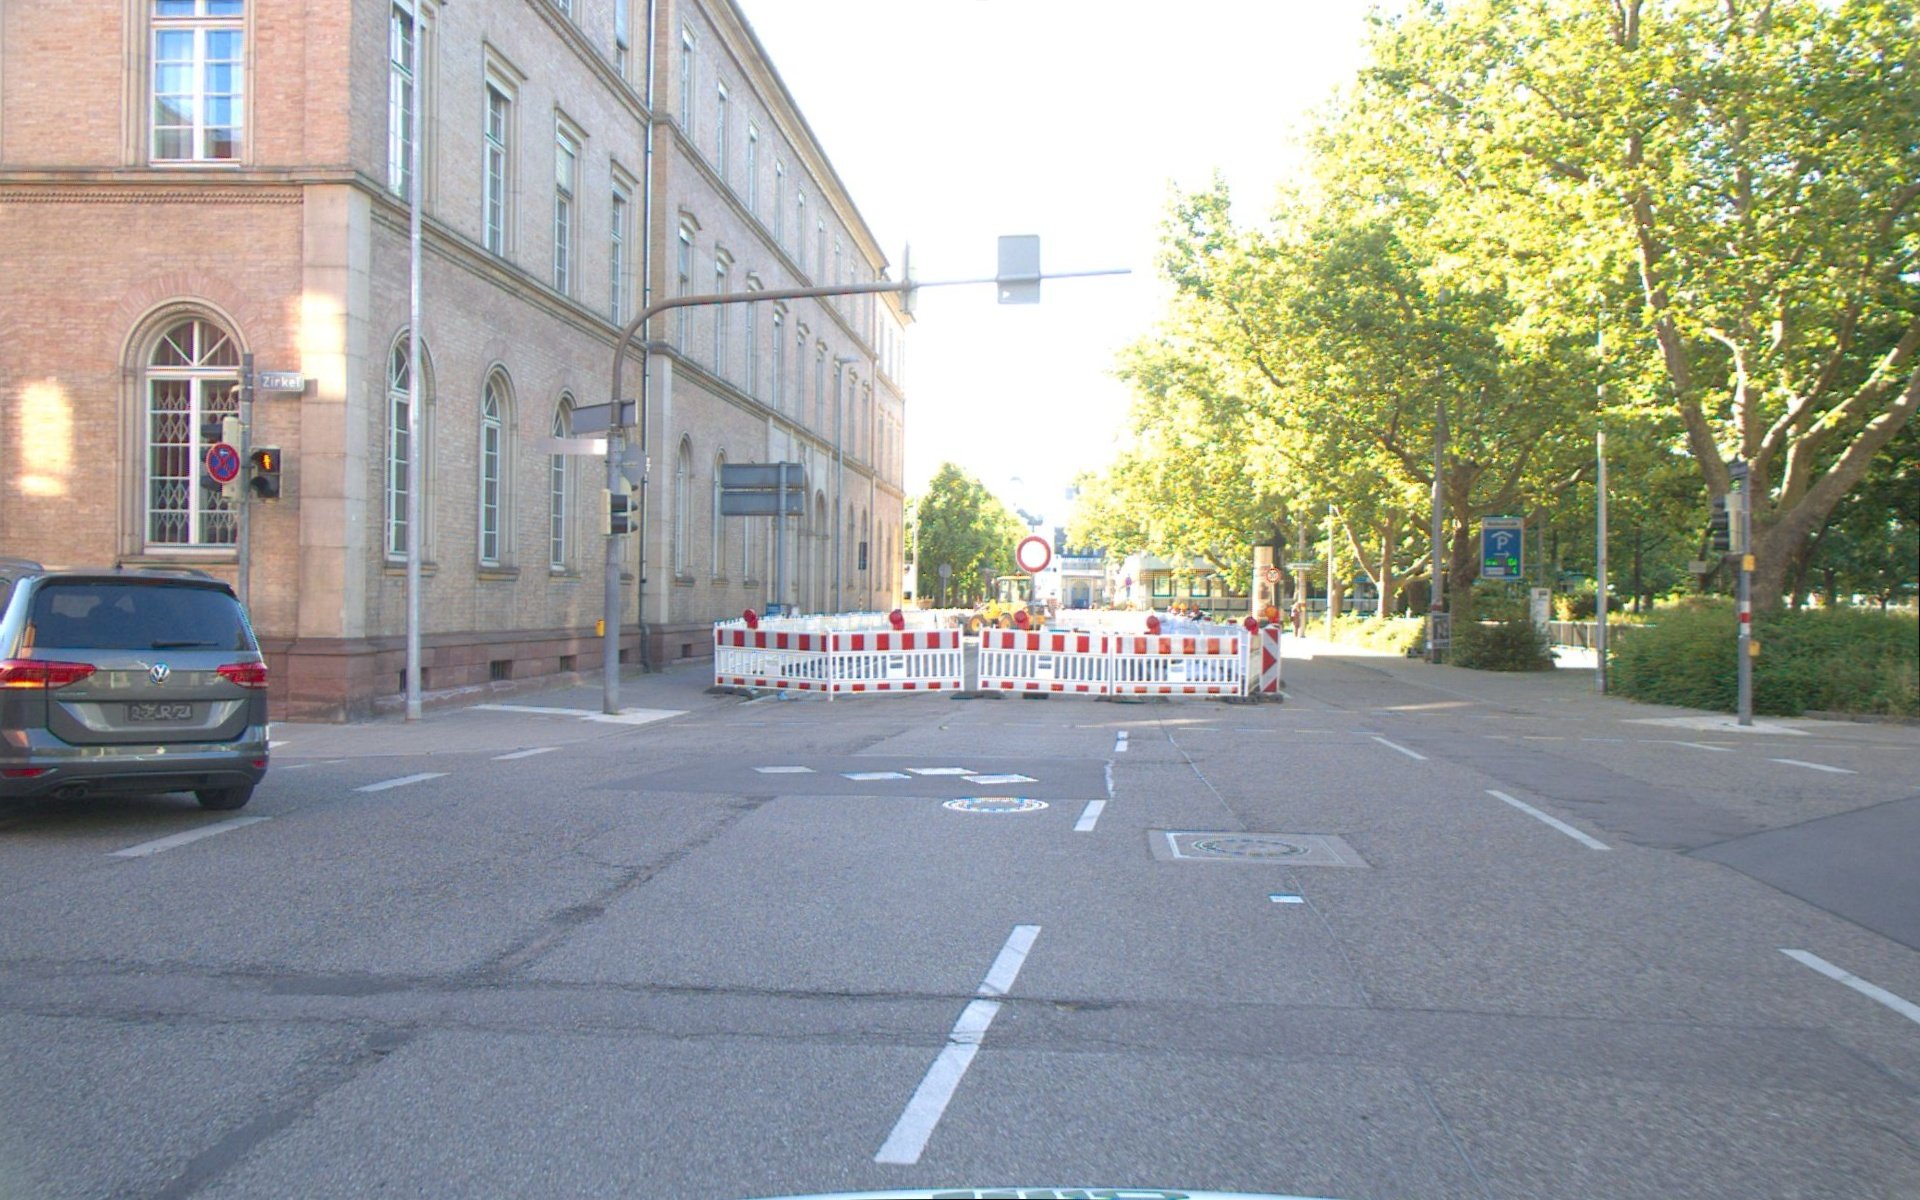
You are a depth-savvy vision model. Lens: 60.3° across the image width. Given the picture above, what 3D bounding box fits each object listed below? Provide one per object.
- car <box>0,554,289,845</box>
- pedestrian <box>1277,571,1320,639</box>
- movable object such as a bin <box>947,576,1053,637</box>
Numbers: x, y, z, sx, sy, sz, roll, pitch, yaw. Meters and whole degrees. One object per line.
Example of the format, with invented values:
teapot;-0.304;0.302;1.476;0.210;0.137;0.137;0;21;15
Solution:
car;-6.280;0.529;11.229;3.932;1.635;1.756;1;1;44
pedestrian;13.696;0.218;66.933;1.394;2.714;1.145;0;-1;33
movable object such as a bin;1.876;0.314;78.902;2.454;2.825;4.765;1;-1;-43
